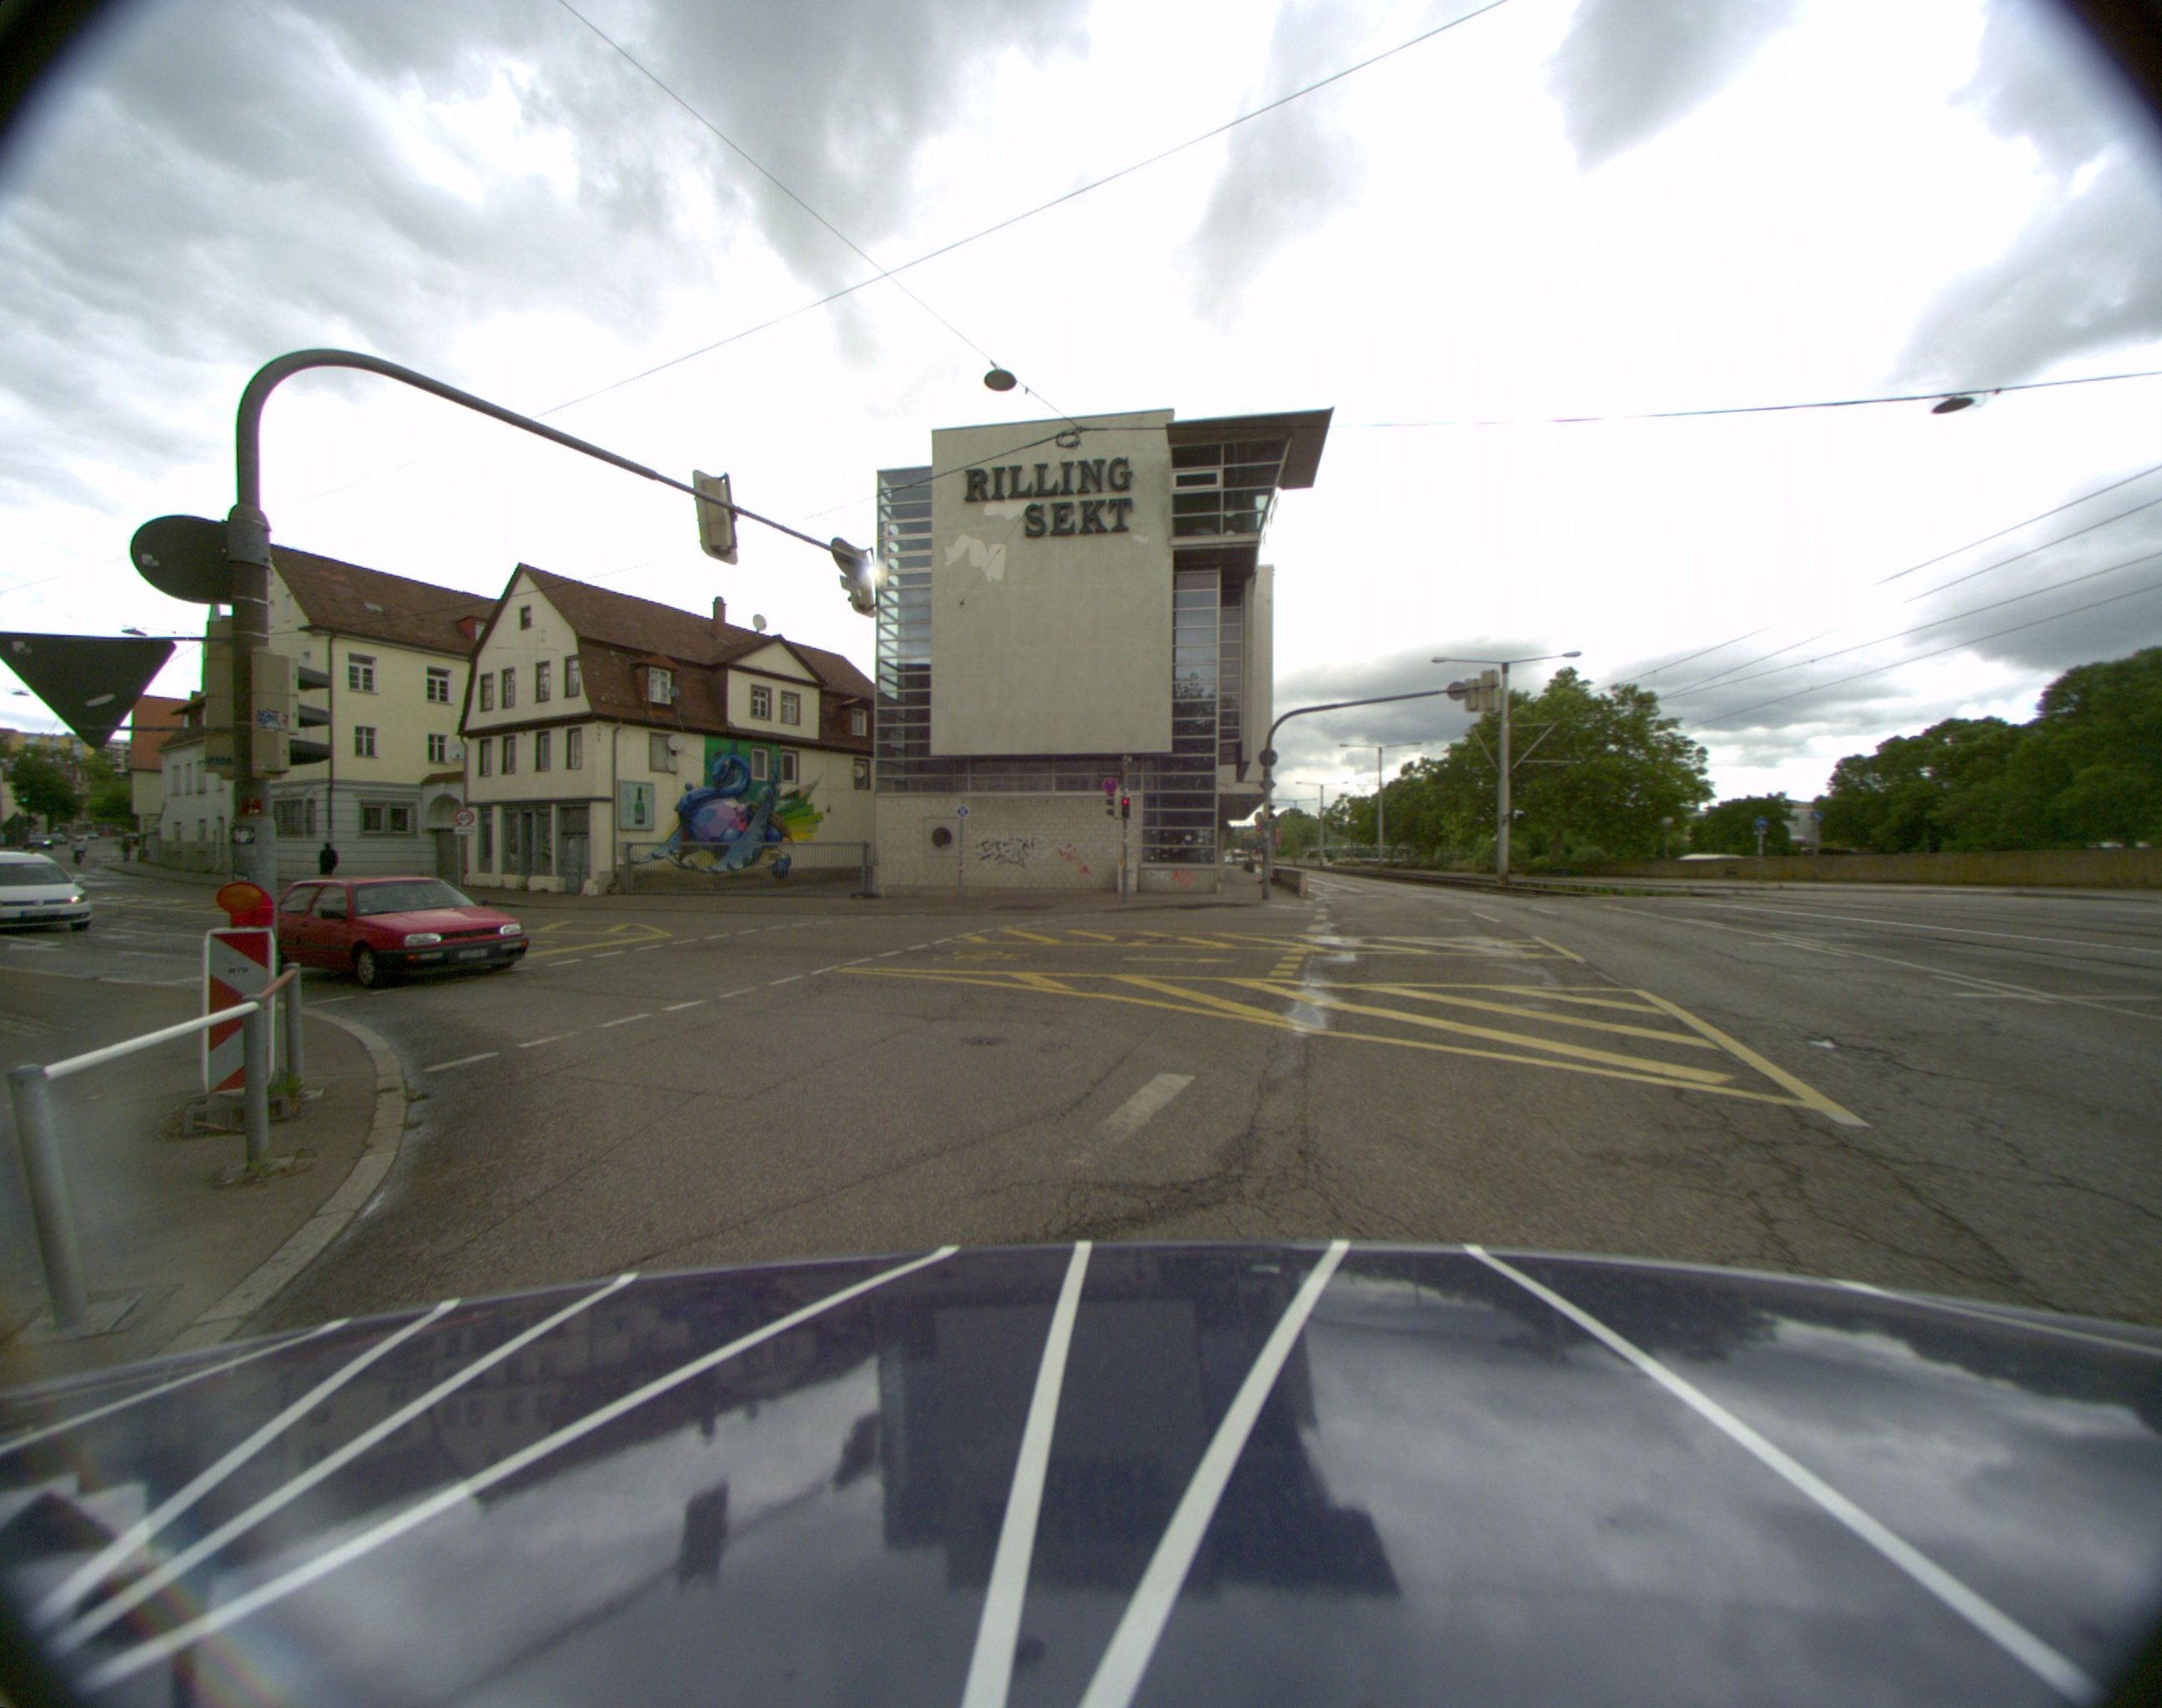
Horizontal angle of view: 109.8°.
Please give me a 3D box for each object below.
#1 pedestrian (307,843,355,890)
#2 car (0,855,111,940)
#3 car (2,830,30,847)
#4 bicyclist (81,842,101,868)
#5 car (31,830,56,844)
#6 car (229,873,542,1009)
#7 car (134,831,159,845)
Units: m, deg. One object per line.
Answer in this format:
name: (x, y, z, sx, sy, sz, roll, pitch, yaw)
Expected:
pedestrian: (-31.081, 0.495, 31.481, 1.089, 1.875, 1.059, -1, 2, 28)
car: (-24.783, 0.922, 17.627, 4.337, 1.781, 1.808, 0, 1, 25)
car: (-133.326, -1.907, 95.136, 3.988, 2.002, 2.004, 1, 1, 36)
bicyclist: (-65.169, 0.039, 50.021, 0.808, 1.691, 0.727, 1, 1, 43)
car: (-149.319, -2.463, 109.365, 3.988, 2.002, 2.004, 1, 1, 36)
car: (-9.912, 1.096, 10.836, 3.990, 1.459, 1.807, 0, 3, 25)
car: (-139.206, -2.322, 113.175, 3.988, 2.002, 2.065, 1, 1, 36)
